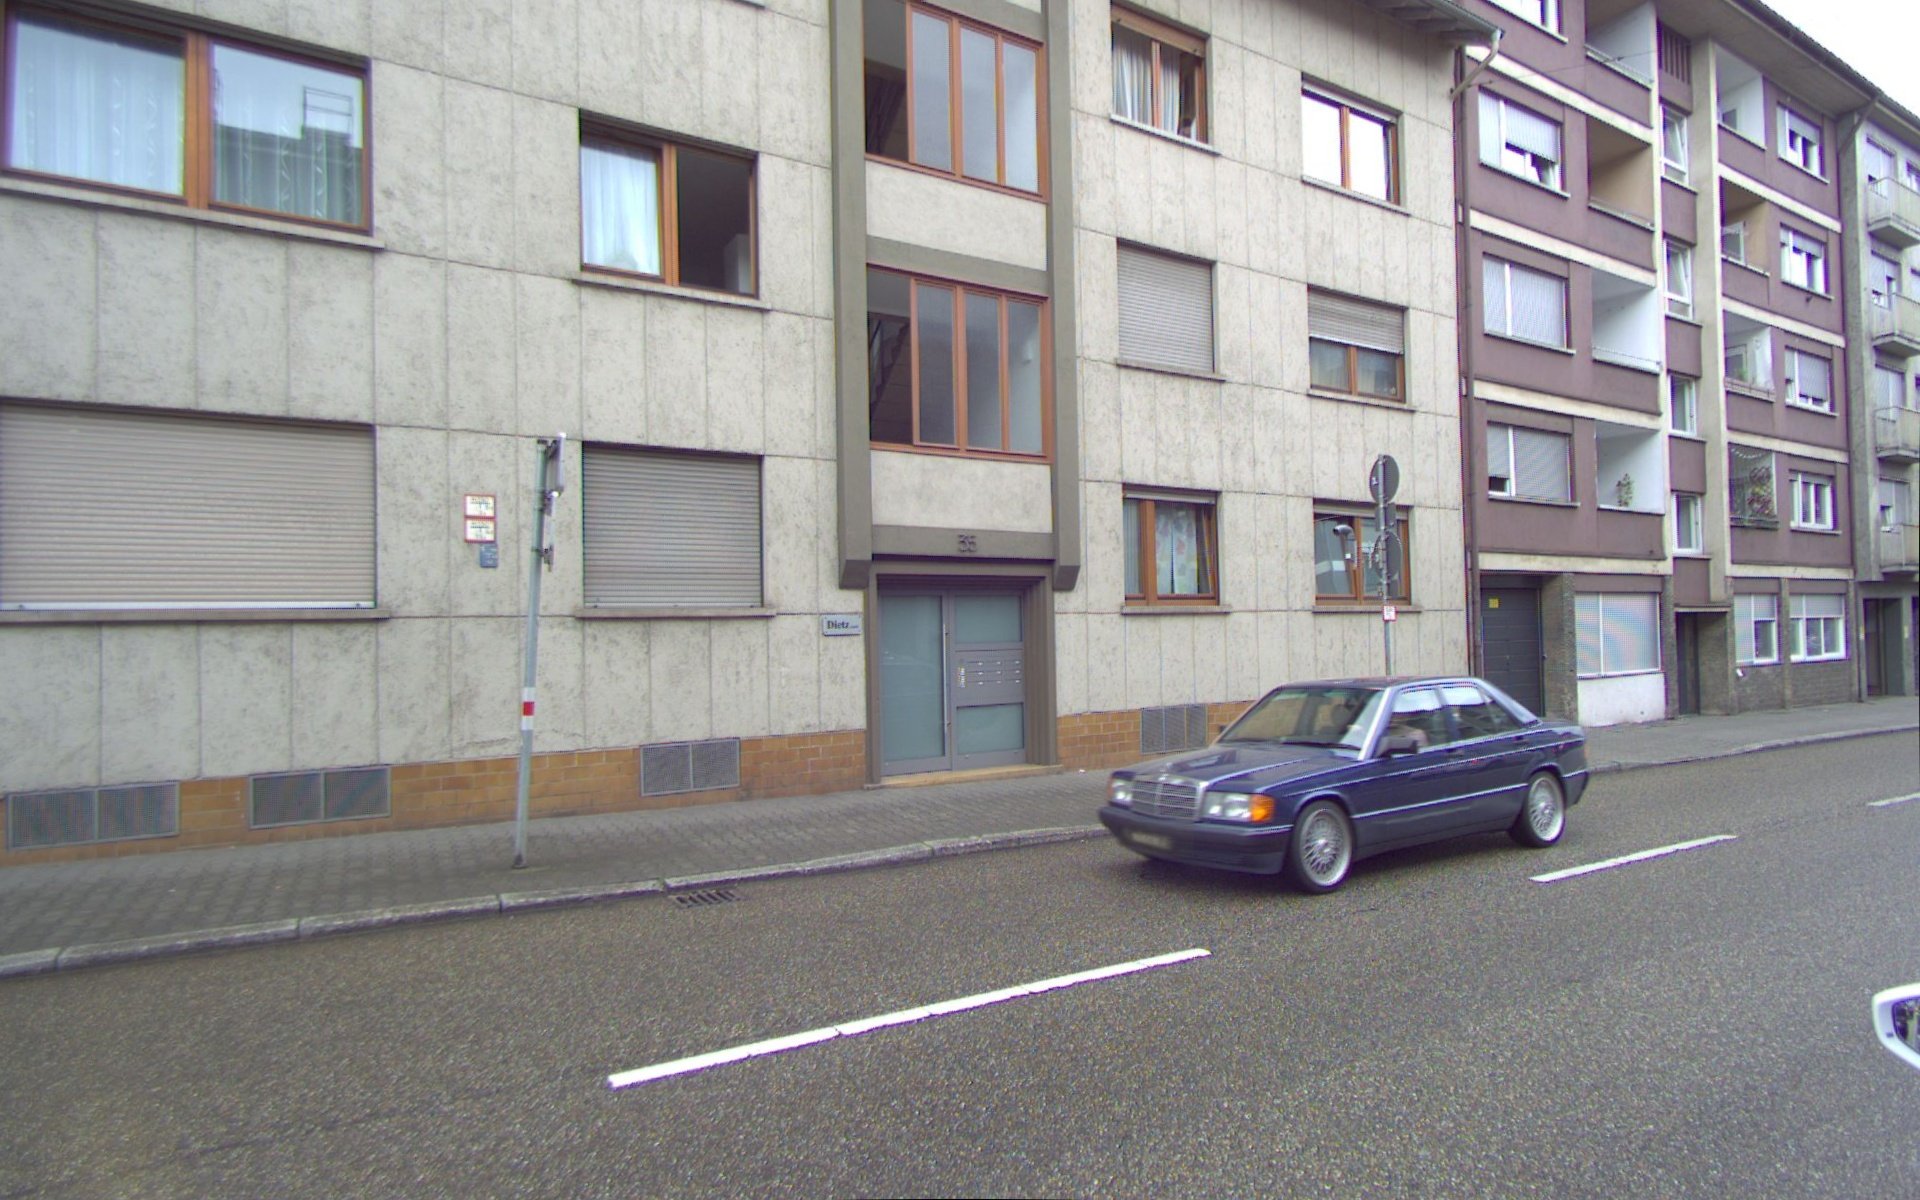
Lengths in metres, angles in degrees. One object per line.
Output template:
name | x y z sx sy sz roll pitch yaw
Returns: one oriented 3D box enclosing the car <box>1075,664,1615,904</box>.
car | 3.111 1.235 7.847 4.312 1.388 1.591 2 -5 -31
